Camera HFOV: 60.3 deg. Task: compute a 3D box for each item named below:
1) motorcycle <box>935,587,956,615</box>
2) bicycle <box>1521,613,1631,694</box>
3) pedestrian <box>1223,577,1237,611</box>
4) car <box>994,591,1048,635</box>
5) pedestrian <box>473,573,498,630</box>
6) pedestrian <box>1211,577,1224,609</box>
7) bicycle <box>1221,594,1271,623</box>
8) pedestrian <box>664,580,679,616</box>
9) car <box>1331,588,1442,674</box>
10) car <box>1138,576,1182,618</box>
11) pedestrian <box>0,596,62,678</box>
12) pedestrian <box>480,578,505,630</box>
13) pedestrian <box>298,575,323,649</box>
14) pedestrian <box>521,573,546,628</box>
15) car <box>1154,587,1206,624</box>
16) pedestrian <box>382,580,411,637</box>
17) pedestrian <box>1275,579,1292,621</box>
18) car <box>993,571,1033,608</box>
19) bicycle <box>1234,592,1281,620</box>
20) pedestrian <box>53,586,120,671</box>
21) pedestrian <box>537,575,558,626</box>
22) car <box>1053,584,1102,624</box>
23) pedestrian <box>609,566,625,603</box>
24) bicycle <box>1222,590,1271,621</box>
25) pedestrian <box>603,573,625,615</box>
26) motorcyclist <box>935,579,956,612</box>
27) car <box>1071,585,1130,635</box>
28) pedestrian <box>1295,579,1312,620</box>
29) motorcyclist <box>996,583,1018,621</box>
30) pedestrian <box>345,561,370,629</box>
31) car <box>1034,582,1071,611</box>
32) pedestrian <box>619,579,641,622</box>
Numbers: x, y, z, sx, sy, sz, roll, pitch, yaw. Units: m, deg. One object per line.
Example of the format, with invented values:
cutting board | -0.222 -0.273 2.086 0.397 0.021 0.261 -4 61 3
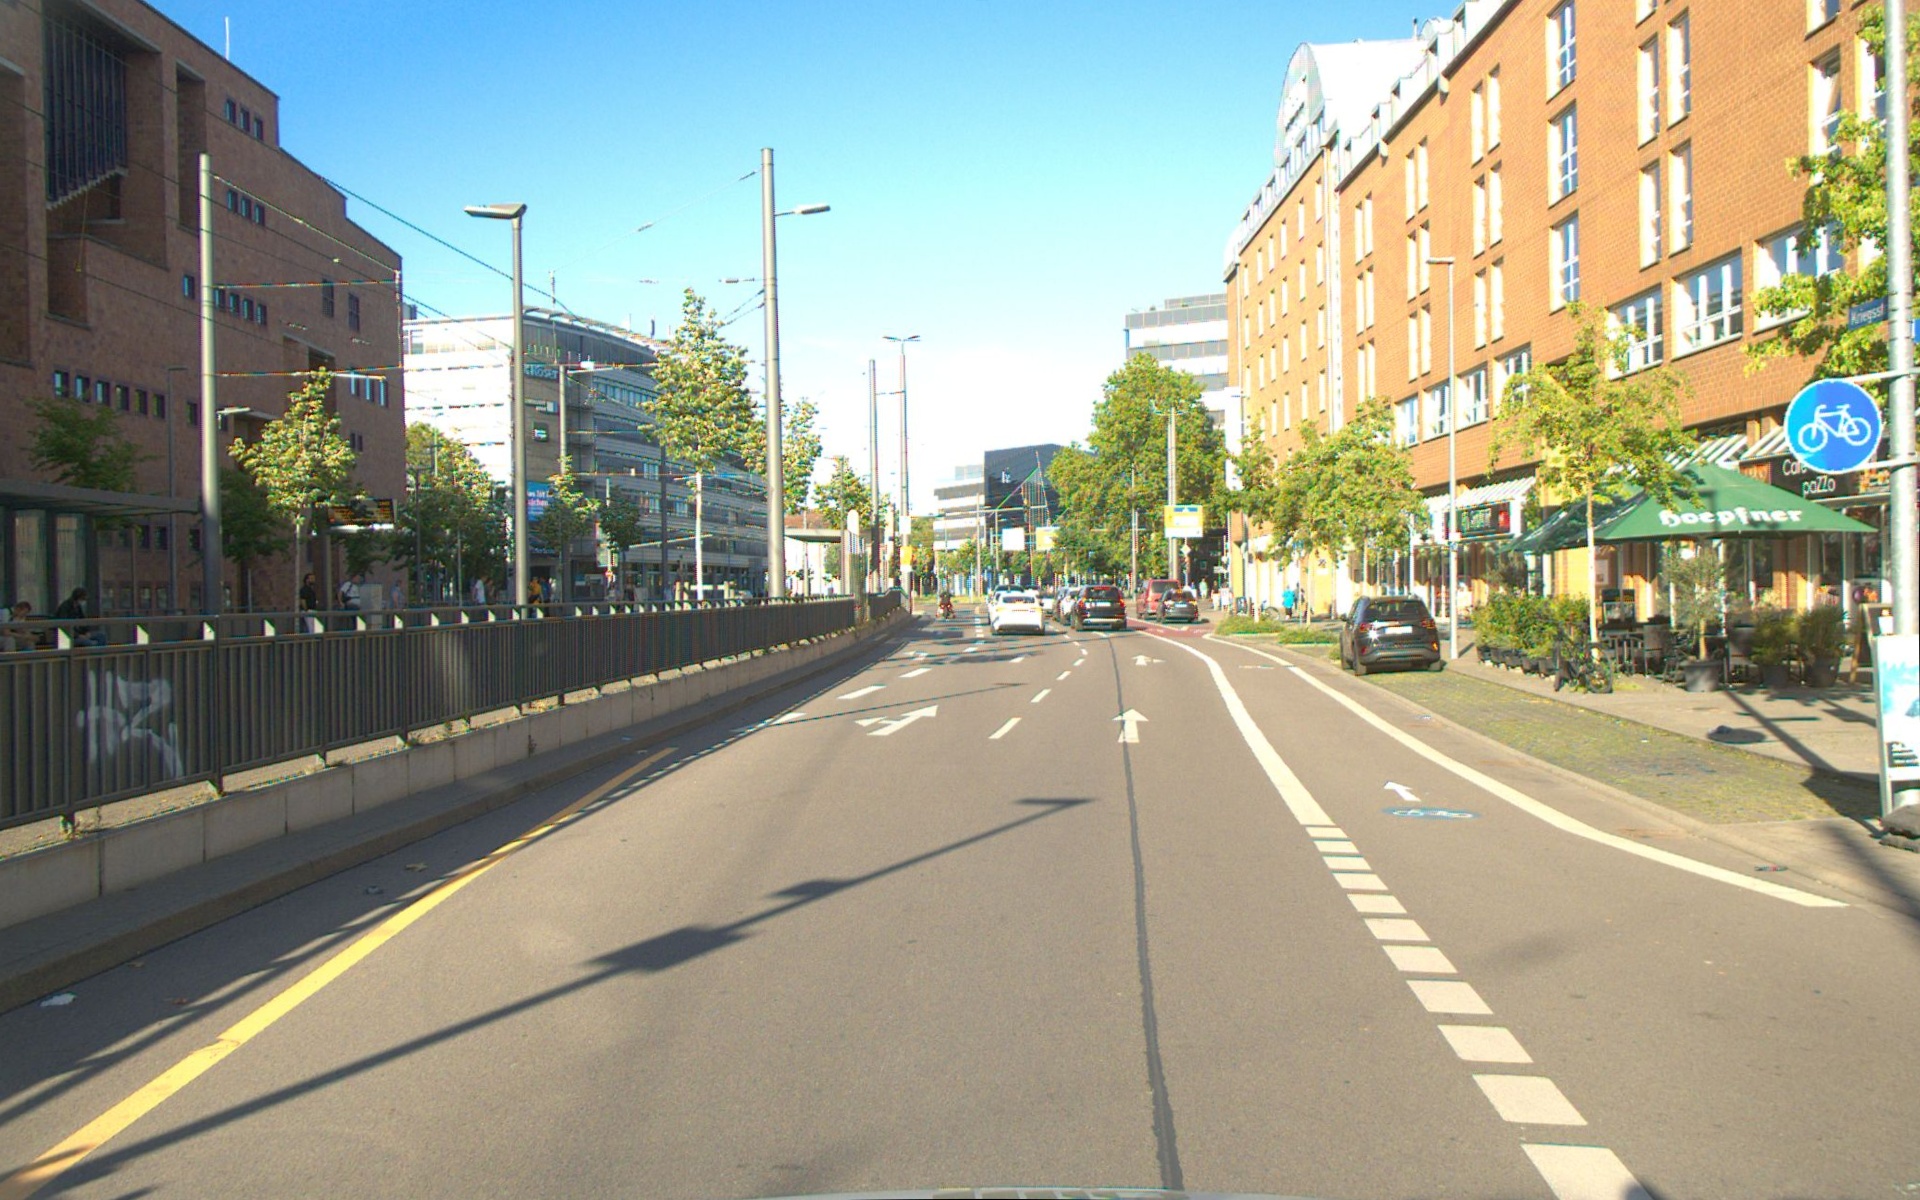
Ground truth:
motorcycle | -0.734 0.040 84.181 0.998 1.335 2.915 1 1 1
bicycle | 9.302 0.785 25.067 0.750 1.100 1.997 -6 -1 -3
pedestrian | 14.853 -0.350 90.928 0.594 1.853 0.748 -1 0 0
car | 2.107 0.423 58.583 1.744 1.439 4.819 1 1 0
pedestrian | -14.766 0.048 51.464 0.610 1.744 0.616 0 0 1
pedestrian | 14.807 -0.396 95.240 0.594 1.853 0.748 -1 0 0
bicycle | 11.375 0.330 65.708 1.903 1.094 0.555 -2 0 11
pedestrian | -14.793 -0.102 84.704 0.601 1.849 0.897 0 0 1
car | 8.952 0.607 35.001 1.684 1.665 4.234 -2 0 7
car | 9.961 -0.161 82.744 1.822 1.995 4.001 -1 1 2
pedestrian | -14.016 0.551 24.743 0.706 1.188 0.721 -3 0 0
pedestrian | -14.795 0.126 52.351 0.610 1.640 0.616 0 0 1
pedestrian | -14.826 0.272 37.752 0.370 1.677 0.416 1 0 1
pedestrian | -13.623 0.013 52.798 0.627 1.725 0.541 1 0 1
car | 10.109 0.233 76.360 1.808 1.588 4.633 1 1 1
pedestrian | -14.711 0.213 43.186 0.528 1.485 0.642 1 0 1
pedestrian | 14.491 -0.007 74.022 0.594 1.853 0.748 -1 0 0
car | 2.303 -0.479 73.173 1.658 1.523 4.409 1 1 1
bicycle | 12.341 0.235 68.605 1.903 1.093 0.626 -2 0 12
pedestrian | -14.138 0.454 26.782 0.633 1.331 0.721 -3 0 0
pedestrian | -14.485 0.025 58.148 0.570 1.768 0.616 0 0 1
car | 5.060 0.147 71.677 1.813 1.668 4.379 0 1 0
pedestrian | -15.320 -0.688 73.893 0.552 1.637 0.616 0 0 1
bicycle | 11.480 0.217 66.228 1.903 1.157 0.491 -2 0 11
pedestrian | -13.608 -0.253 65.045 0.627 1.636 0.945 1 0 1
motorcyclist | -0.734 -0.244 84.211 0.998 1.631 1.148 1 0 1
car | 5.415 0.350 64.080 1.934 1.790 4.633 1 1 1
pedestrian | 15.527 -0.036 74.843 0.594 1.853 0.748 -1 0 0
motorcyclist | 1.920 0.087 67.238 0.820 1.501 1.236 -1 1 -1
pedestrian | -14.684 -0.129 40.334 0.370 1.649 0.553 1 0 1
car | 4.944 -0.204 88.786 1.813 1.524 4.379 0 1 0
pedestrian | -12.973 -0.001 65.051 0.627 1.672 0.945 1 0 1
